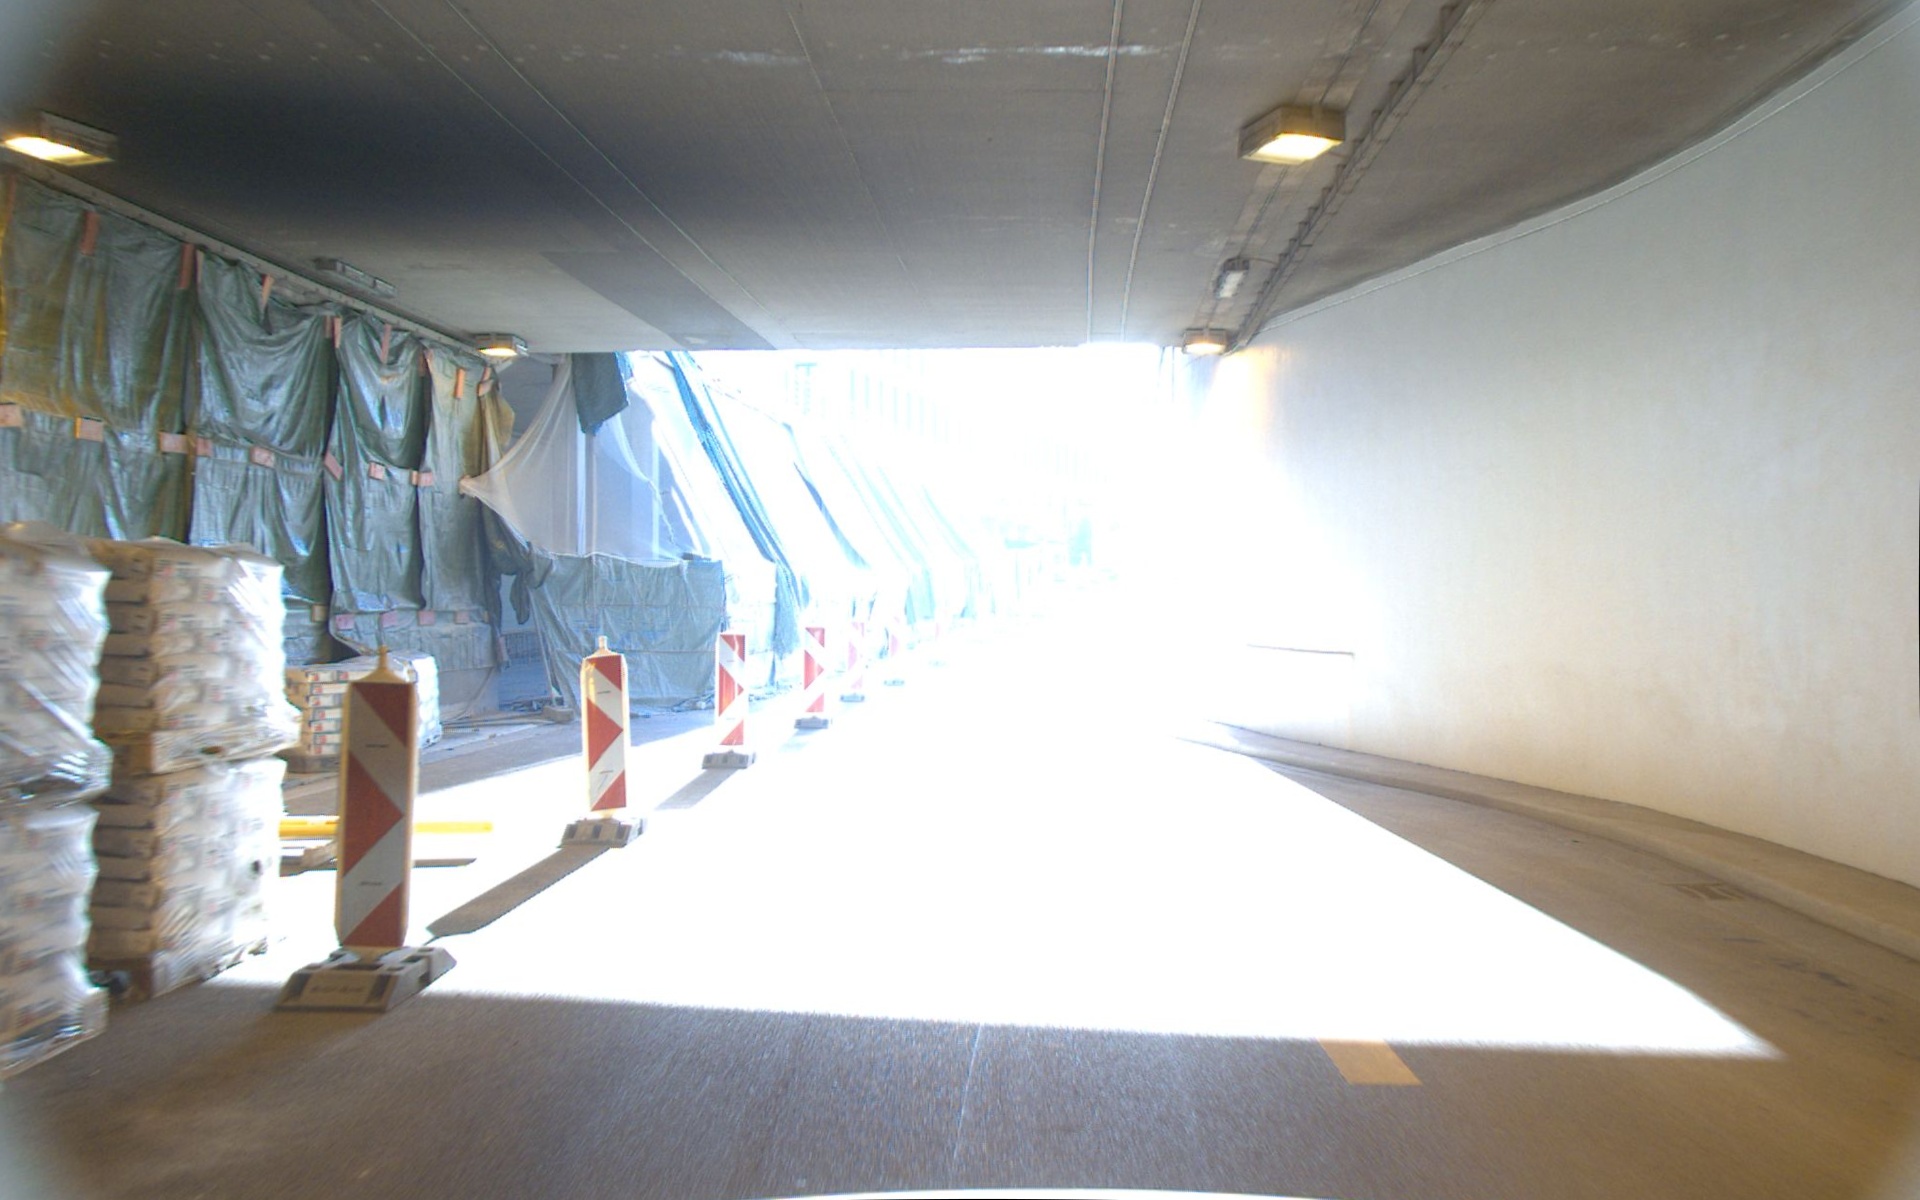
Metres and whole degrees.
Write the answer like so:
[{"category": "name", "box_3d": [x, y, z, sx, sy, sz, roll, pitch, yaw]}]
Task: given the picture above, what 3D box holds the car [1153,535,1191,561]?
[{"category": "car", "box_3d": [13.745, -3.393, 107.178, 1.739, 1.632, 4.003, 1, 2, 18]}]
